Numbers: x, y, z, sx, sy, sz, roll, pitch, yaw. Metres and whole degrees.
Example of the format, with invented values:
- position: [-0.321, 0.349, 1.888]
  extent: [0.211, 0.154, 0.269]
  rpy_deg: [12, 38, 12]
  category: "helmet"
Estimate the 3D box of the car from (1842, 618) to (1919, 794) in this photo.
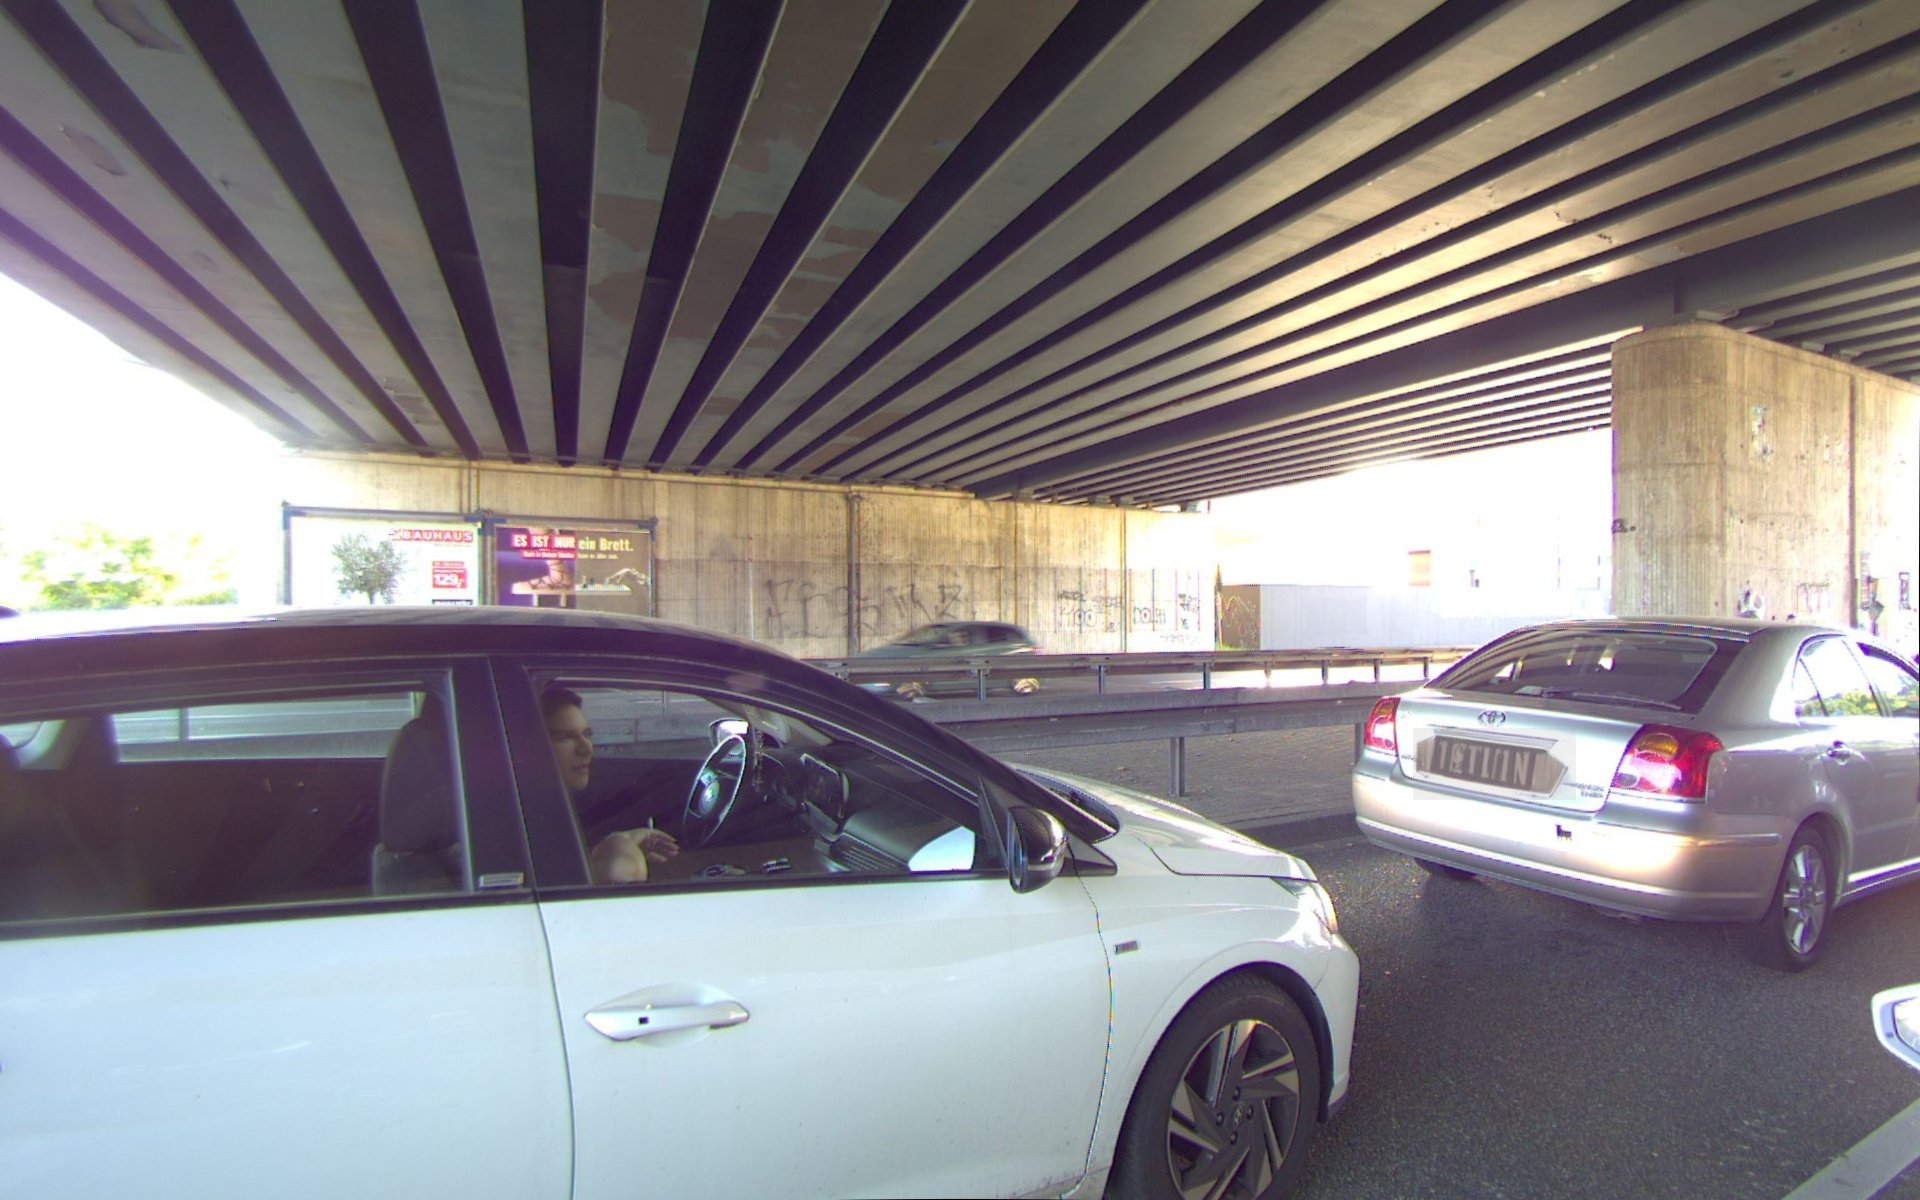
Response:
- position: [9.825, 0.905, 9.017]
  extent: [3.687, 1.457, 1.805]
  rpy_deg: [0, 0, -30]
  category: "car"

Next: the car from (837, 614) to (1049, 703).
- position: [-0.298, 1.047, 19.163]
  extent: [3.782, 1.540, 1.610]
  rpy_deg: [0, -1, -32]
  category: "car"

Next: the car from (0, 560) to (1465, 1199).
- position: [-0.776, 0.724, 2.365]
  extent: [3.946, 1.499, 1.724]
  rpy_deg: [1, -1, -32]
  category: "car"

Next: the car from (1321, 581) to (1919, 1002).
- position: [4.082, 0.729, 5.454]
  extent: [4.270, 1.499, 1.724]
  rpy_deg: [1, -1, -32]
  category: "car"
